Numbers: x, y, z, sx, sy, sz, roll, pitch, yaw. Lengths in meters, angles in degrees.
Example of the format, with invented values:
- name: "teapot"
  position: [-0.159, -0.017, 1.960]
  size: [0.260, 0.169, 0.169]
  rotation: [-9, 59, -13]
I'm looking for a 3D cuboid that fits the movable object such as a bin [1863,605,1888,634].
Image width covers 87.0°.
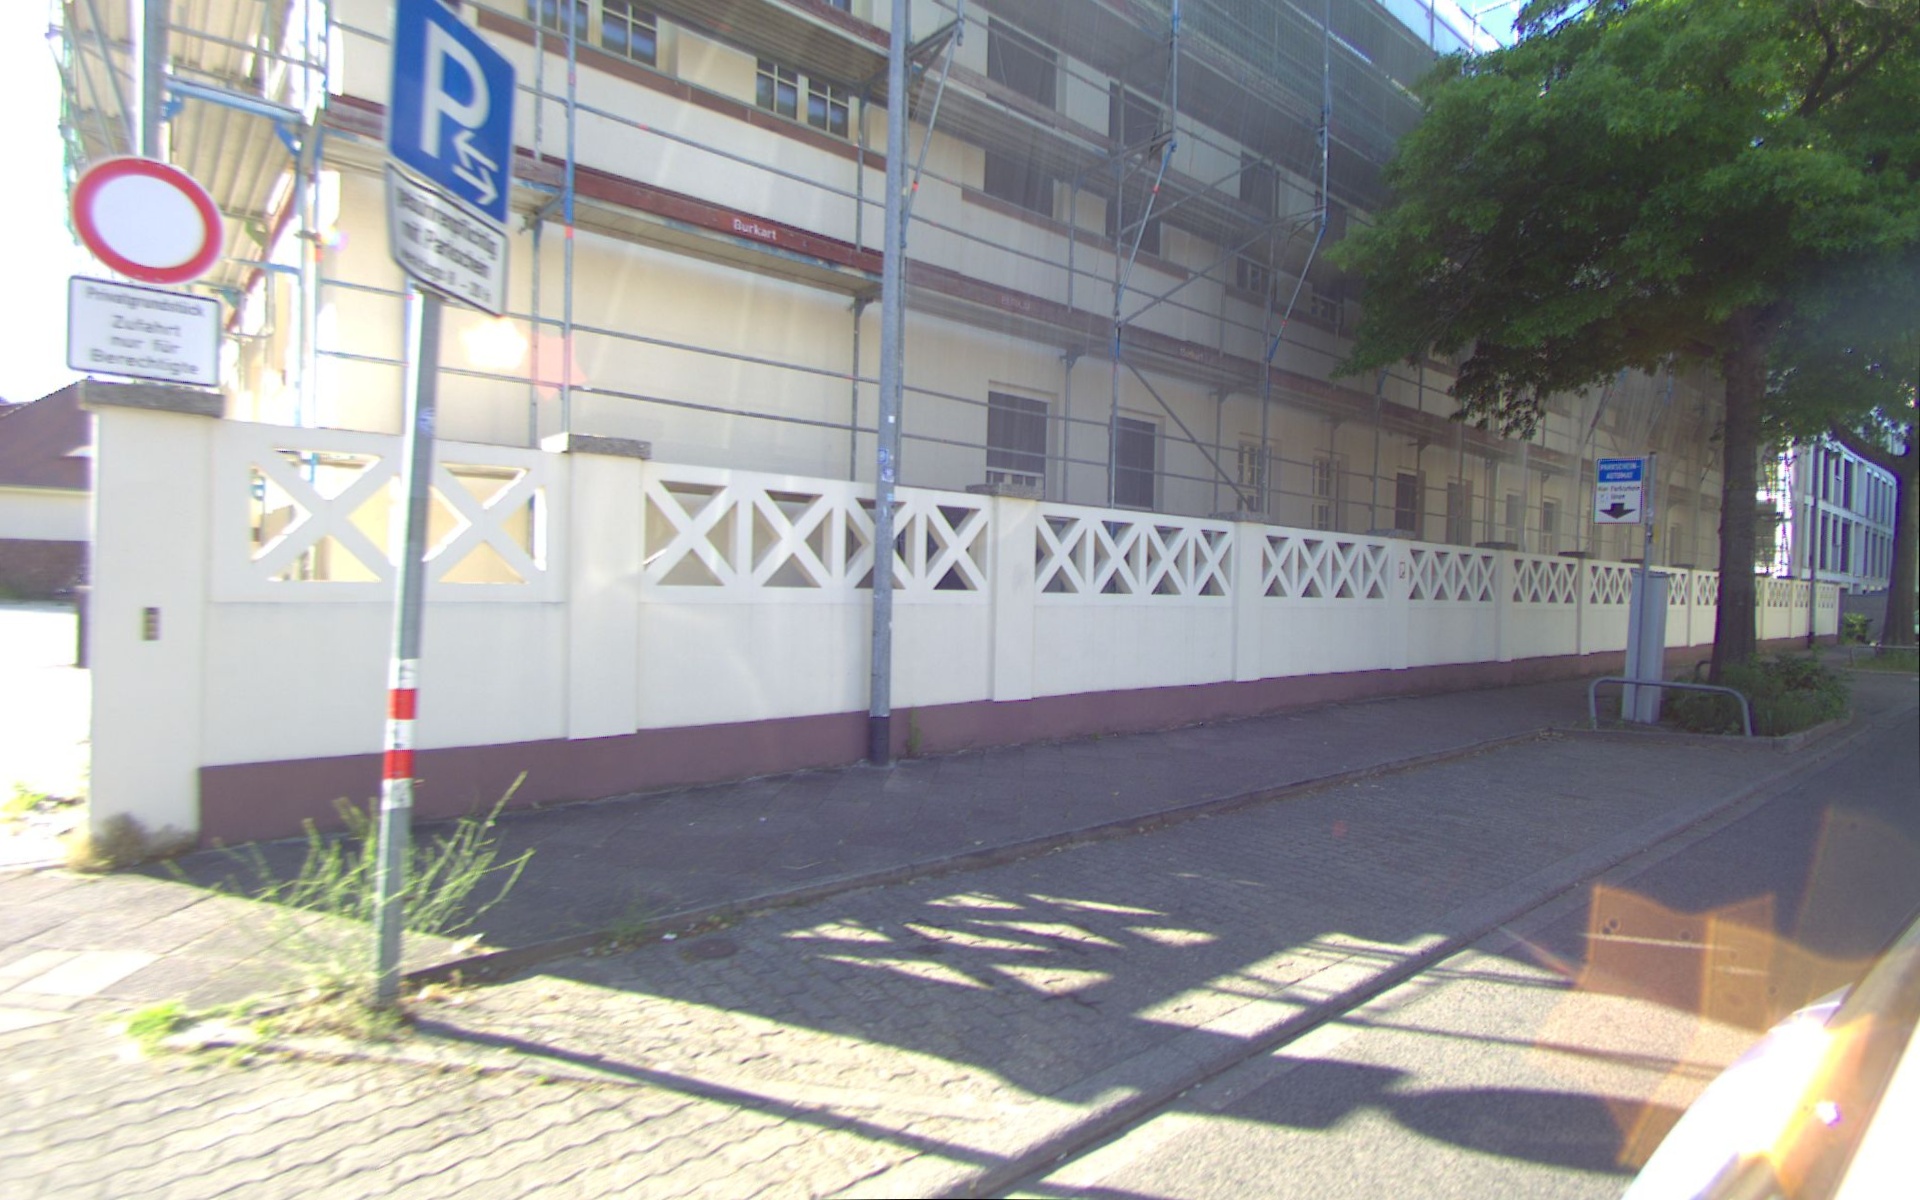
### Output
- name: "movable object such as a bin"
  position: [33.758, 0.714, 37.318]
  size: [0.553, 1.040, 0.599]
  rotation: [0, 0, -37]

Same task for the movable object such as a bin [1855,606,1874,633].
- name: "movable object such as a bin"
  position: [33.180, 0.726, 37.131]
  size: [0.502, 0.976, 0.435]
  rotation: [0, 0, -36]

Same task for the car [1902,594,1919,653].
- name: "car"
  position: [26.903, 0.662, 27.148]
  size: [3.918, 1.528, 1.729]
  rotation: [1, 3, -38]
